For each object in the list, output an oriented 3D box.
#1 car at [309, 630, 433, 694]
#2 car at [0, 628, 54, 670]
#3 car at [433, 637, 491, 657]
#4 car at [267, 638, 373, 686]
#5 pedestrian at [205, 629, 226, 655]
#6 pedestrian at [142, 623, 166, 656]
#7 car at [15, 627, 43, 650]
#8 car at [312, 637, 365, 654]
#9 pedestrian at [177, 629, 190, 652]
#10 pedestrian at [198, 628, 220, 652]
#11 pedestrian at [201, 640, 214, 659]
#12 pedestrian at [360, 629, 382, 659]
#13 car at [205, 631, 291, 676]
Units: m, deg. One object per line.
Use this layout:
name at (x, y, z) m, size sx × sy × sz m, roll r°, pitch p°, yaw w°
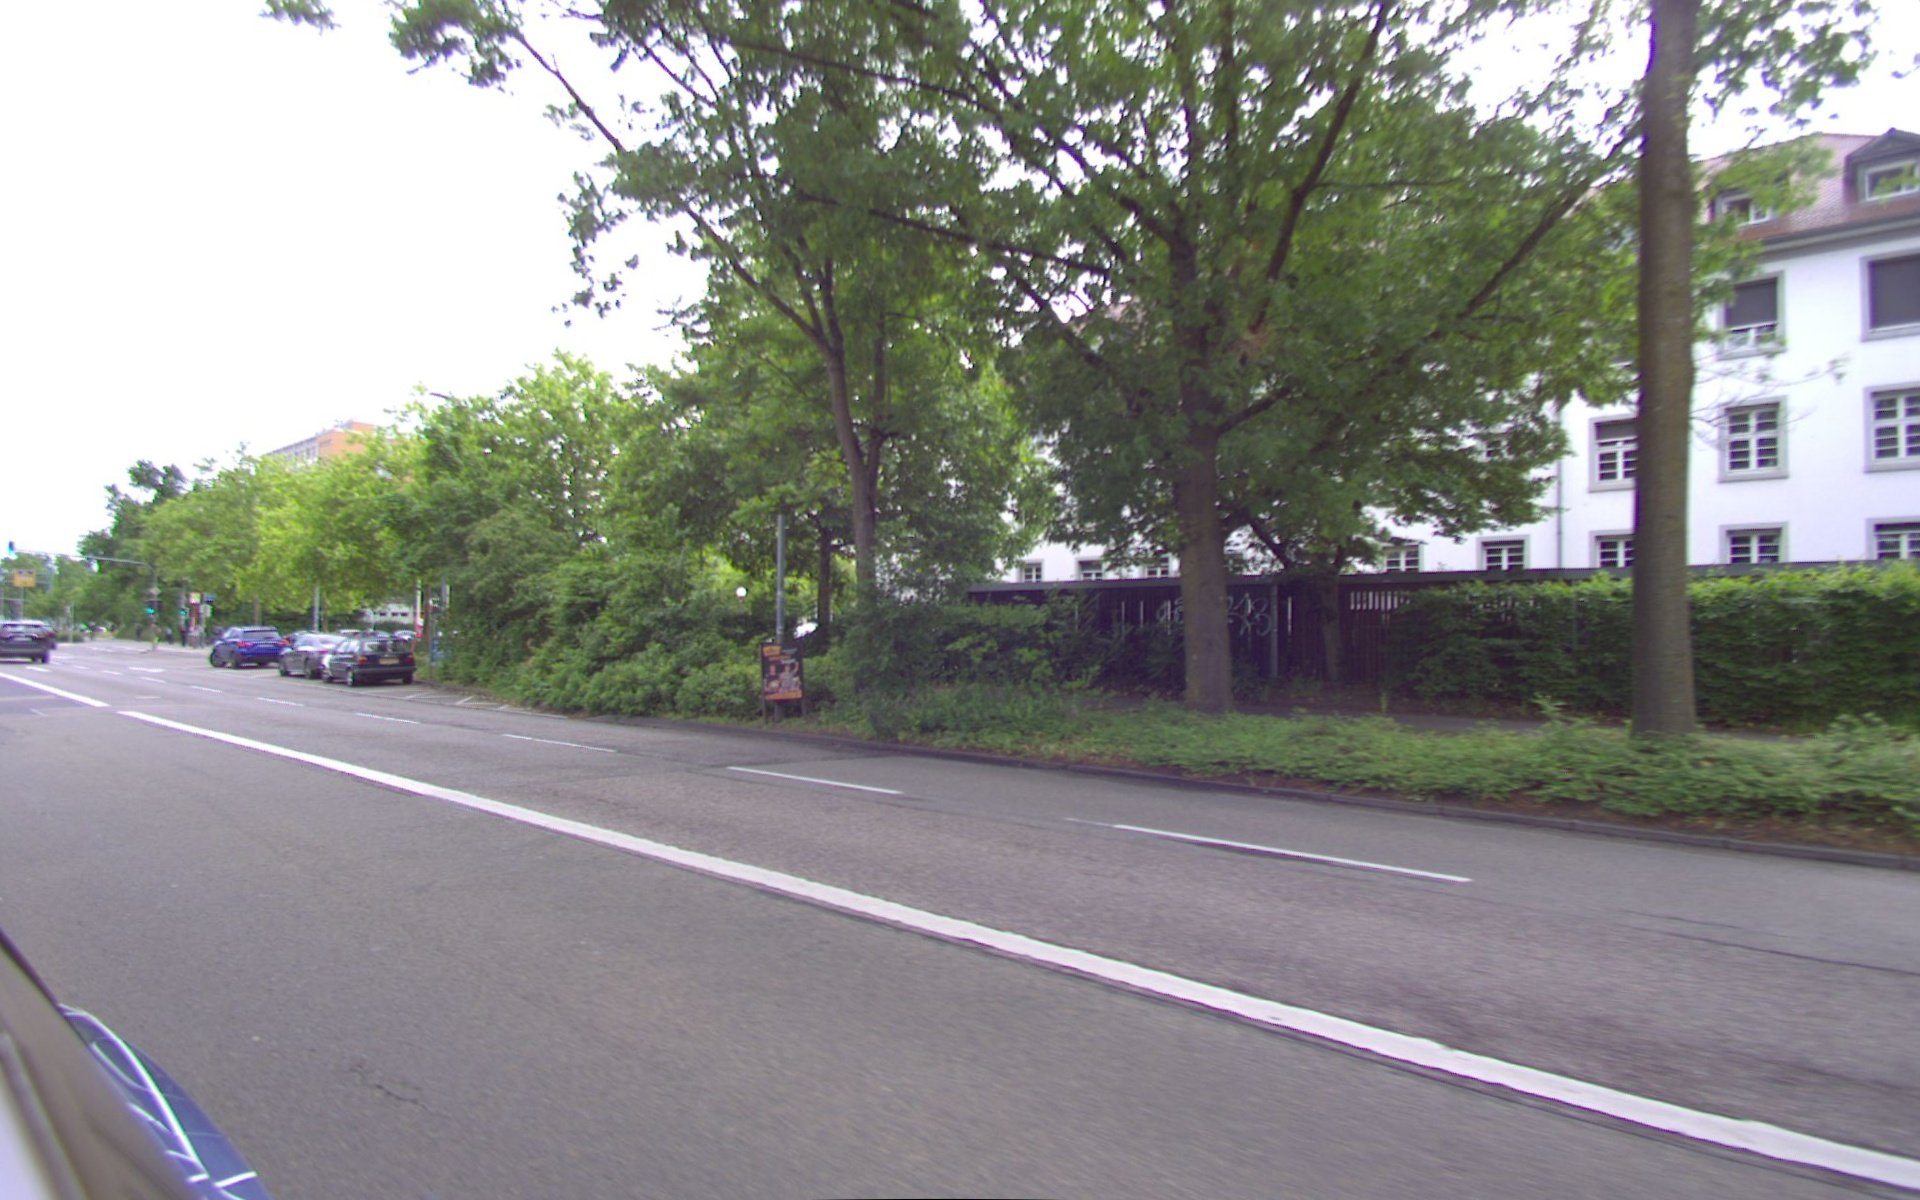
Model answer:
car at (-17.344, 1.752, 29.731) m, size 3.998 × 1.702 × 1.973 m, roll -2°, pitch -1°, yaw 41°
car at (-37.838, 1.929, 40.423) m, size 4.514 × 1.605 × 1.883 m, roll -2°, pitch -4°, yaw 41°
car at (-42.415, 3.981, 86.239) m, size 1.998 × 1.592 × 3.947 m, roll -2°, pitch -1°, yaw 40°
car at (-20.873, 1.969, 32.926) m, size 4.730 × 1.435 × 1.852 m, roll -2°, pitch -4°, yaw 45°
pedestrian at (-52.690, 2.963, 71.624) m, size 0.934 × 1.817 × 0.886 m, roll -1°, pitch -4°, yaw 38°
pedestrian at (-49.529, 2.419, 62.213) m, size 1.008 × 2.029 × 0.885 m, roll -2°, pitch -4°, yaw 39°
car at (-80.844, 3.314, 87.879) m, size 1.751 × 1.862 × 4.492 m, roll 0°, pitch -2°, yaw -43°
car at (-54.819, 4.010, 89.282) m, size 1.862 × 1.461 × 3.547 m, roll -2°, pitch -2°, yaw 40°
pedestrian at (-59.732, 3.127, 77.852) m, size 0.653 × 1.708 × 0.583 m, roll -2°, pitch -4°, yaw 44°
pedestrian at (-63.928, 3.387, 86.111) m, size 1.088 × 2.029 × 1.038 m, roll -1°, pitch -1°, yaw 10°
pedestrian at (-64.618, 4.243, 86.893) m, size 0.599 × 1.619 × 0.498 m, roll -1°, pitch -7°, yaw 29°
pedestrian at (-40.910, 3.041, 70.279) m, size 1.091 × 2.029 × 0.789 m, roll -1°, pitch -3°, yaw 24°
car at (-27.813, 2.034, 39.488) m, size 4.592 × 1.620 × 1.839 m, roll -2°, pitch -2°, yaw 43°
